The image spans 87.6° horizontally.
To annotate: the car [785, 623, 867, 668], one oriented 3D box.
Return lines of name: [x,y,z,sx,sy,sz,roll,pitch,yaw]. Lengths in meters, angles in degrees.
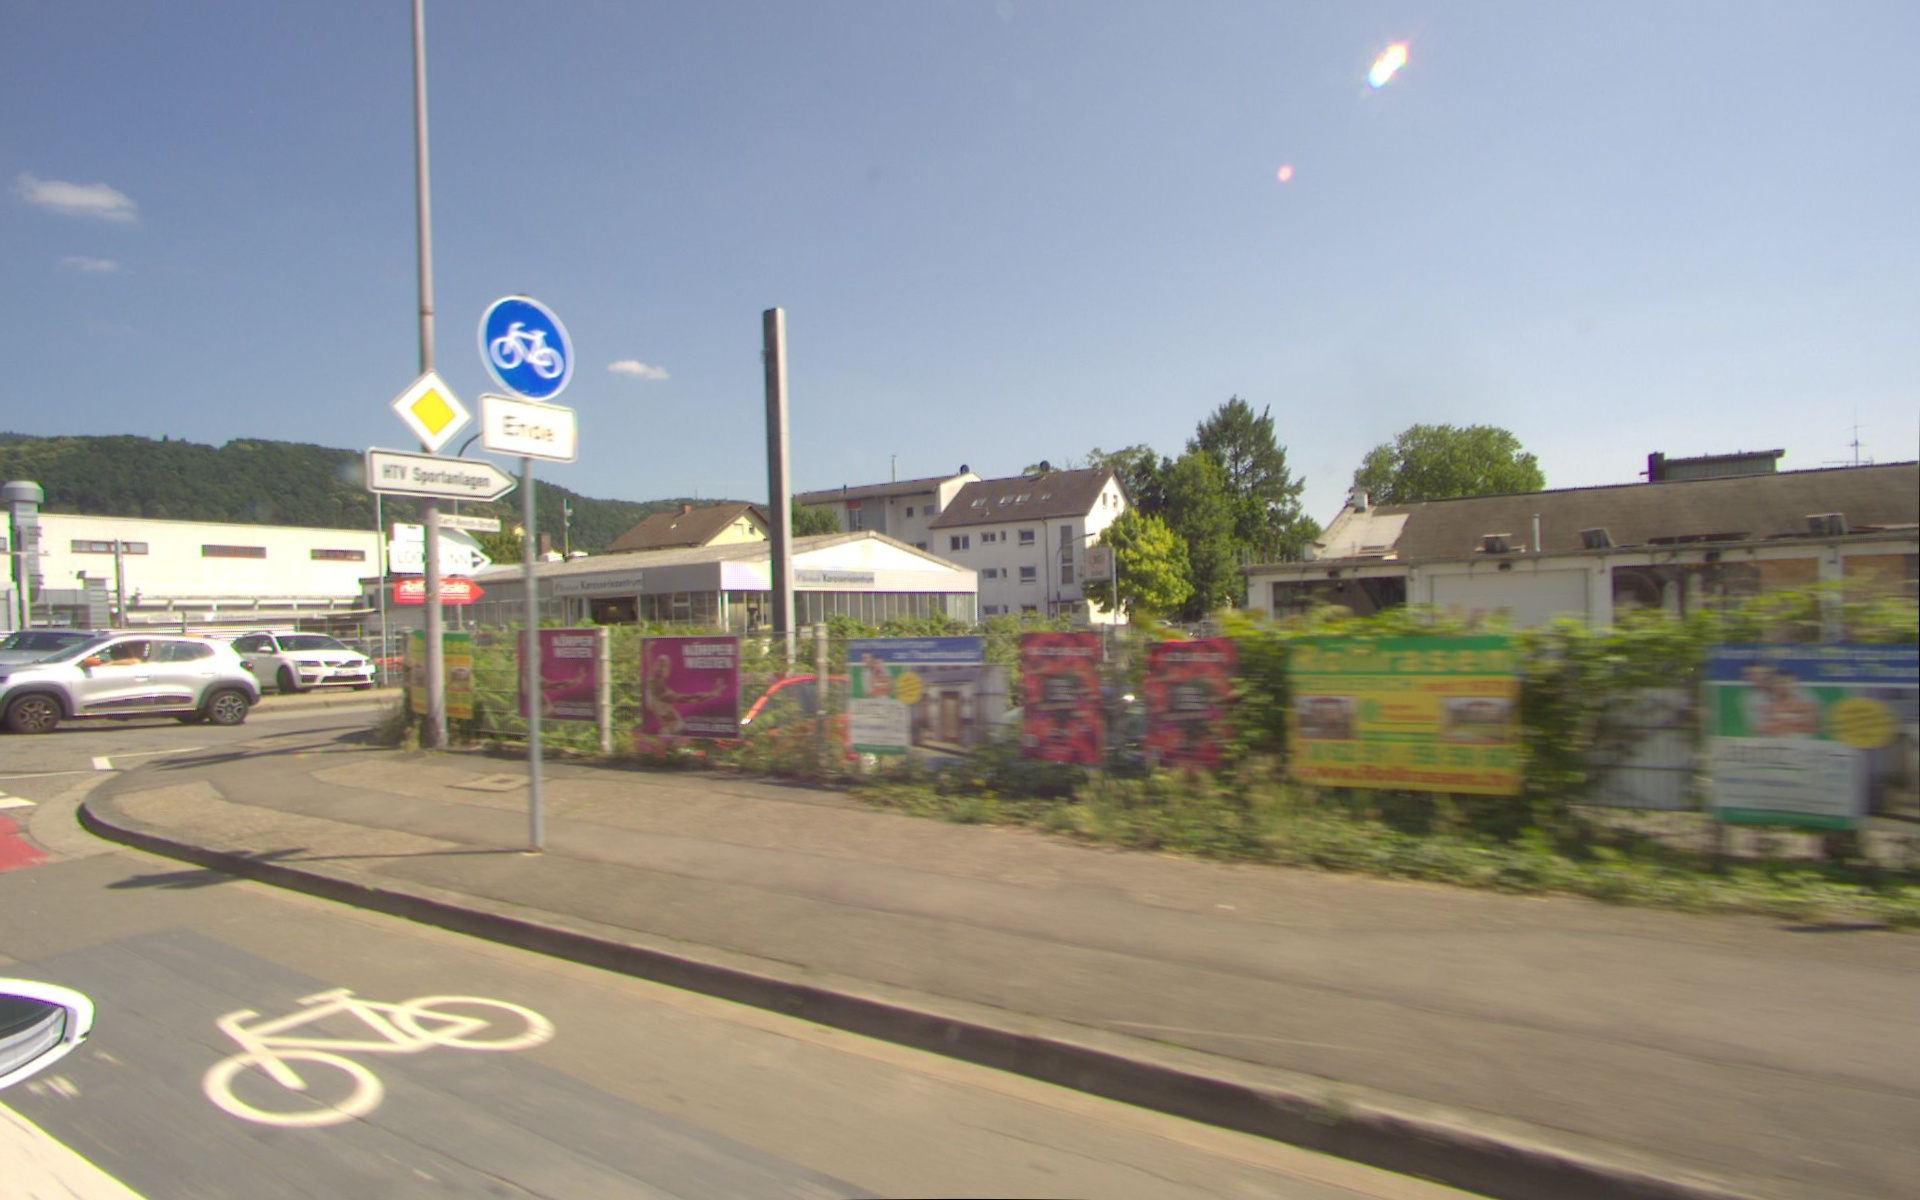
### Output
car: [-5.551,1.837,41.079,1.971,1.669,3.979,1,-1,-29]

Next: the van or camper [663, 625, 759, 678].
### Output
van or camper: [-8.871,1.807,35.420,1.972,1.563,4.206,-6,1,-32]

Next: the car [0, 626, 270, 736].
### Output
car: [-13.308,1.182,15.788,1.702,1.504,3.660,0,-1,30]

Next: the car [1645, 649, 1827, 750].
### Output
car: [13.488,1.636,17.693,2.089,1.416,4.321,-1,-1,32]

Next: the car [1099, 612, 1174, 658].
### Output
car: [7.318,1.421,41.334,1.969,1.817,3.986,0,-1,27]

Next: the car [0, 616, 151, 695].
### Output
car: [-17.818,1.127,19.871,1.930,1.375,4.478,3,-5,-29]

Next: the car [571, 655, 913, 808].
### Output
car: [-2.422,1.416,12.007,1.586,1.363,3.974,-1,-1,37]

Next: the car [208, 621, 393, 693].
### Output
car: [-15.422,1.267,23.357,4.439,1.524,1.845,-1,0,31]

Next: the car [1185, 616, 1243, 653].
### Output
car: [12.764,1.684,50.183,1.969,1.795,3.985,0,-1,27]

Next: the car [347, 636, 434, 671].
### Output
car: [-32.883,3.068,57.900,1.887,1.880,3.984,-2,-2,29]

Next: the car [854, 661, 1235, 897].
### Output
car: [0.912,1.474,9.484,1.871,1.622,3.450,-1,-1,44]

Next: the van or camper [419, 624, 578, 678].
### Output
van or camper: [-13.030,1.430,28.256,4.165,1.367,1.994,-1,-6,30]

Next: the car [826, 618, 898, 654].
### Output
car: [-4.330,1.618,44.010,1.769,1.482,3.807,1,-3,-30]
